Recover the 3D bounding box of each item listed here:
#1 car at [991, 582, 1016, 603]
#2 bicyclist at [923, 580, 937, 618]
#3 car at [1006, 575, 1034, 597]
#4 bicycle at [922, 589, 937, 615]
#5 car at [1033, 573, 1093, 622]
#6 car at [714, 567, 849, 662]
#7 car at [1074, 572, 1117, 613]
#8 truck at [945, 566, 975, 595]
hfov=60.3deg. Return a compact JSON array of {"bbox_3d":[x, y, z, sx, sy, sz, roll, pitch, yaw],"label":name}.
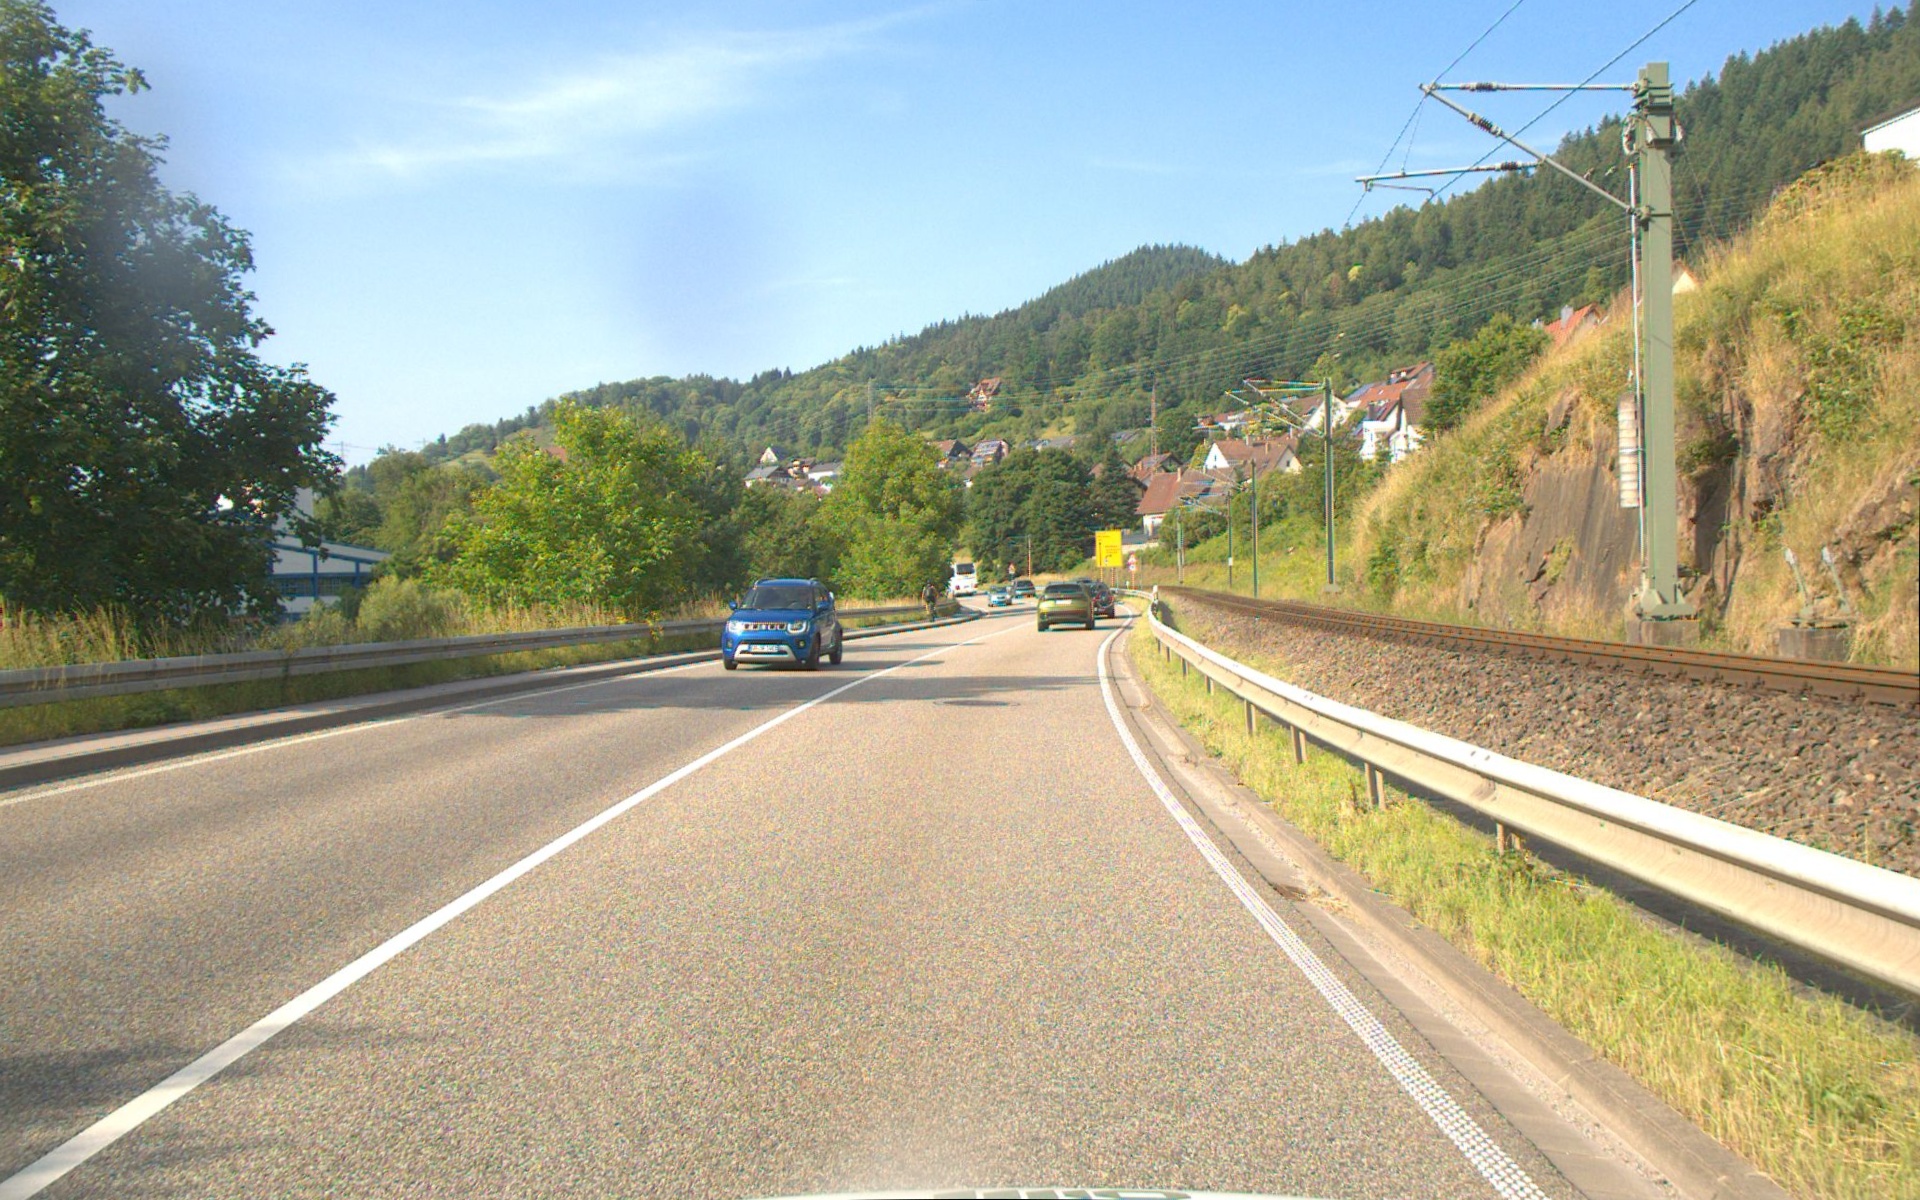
[{"bbox_3d":[3.267,-0.563,123.851,1.544,1.505,4.003,3,1,6],"label":"car"},{"bbox_3d":[-1.299,-0.032,71.477,0.546,1.614,1.035,0,1,-3],"label":"bicyclist"},{"bbox_3d":[5.428,-1.289,149.827,2.023,1.843,3.996,-2,-1,-5],"label":"car"},{"bbox_3d":[-1.320,0.081,71.520,0.546,1.064,2.227,0,1,-5],"label":"bicycle"},{"bbox_3d":[3.212,-0.086,52.219,1.679,1.480,4.000,-1,0,1],"label":"car"},{"bbox_3d":[-3.145,0.231,29.909,1.714,1.594,4.002,0,0,4],"label":"car"},{"bbox_3d":[5.458,-0.333,66.340,1.632,1.586,4.003,0,1,6],"label":"car"},{"bbox_3d":[-0.025,-2.187,182.814,2.660,3.138,6.099,0,1,-7],"label":"truck"}]
